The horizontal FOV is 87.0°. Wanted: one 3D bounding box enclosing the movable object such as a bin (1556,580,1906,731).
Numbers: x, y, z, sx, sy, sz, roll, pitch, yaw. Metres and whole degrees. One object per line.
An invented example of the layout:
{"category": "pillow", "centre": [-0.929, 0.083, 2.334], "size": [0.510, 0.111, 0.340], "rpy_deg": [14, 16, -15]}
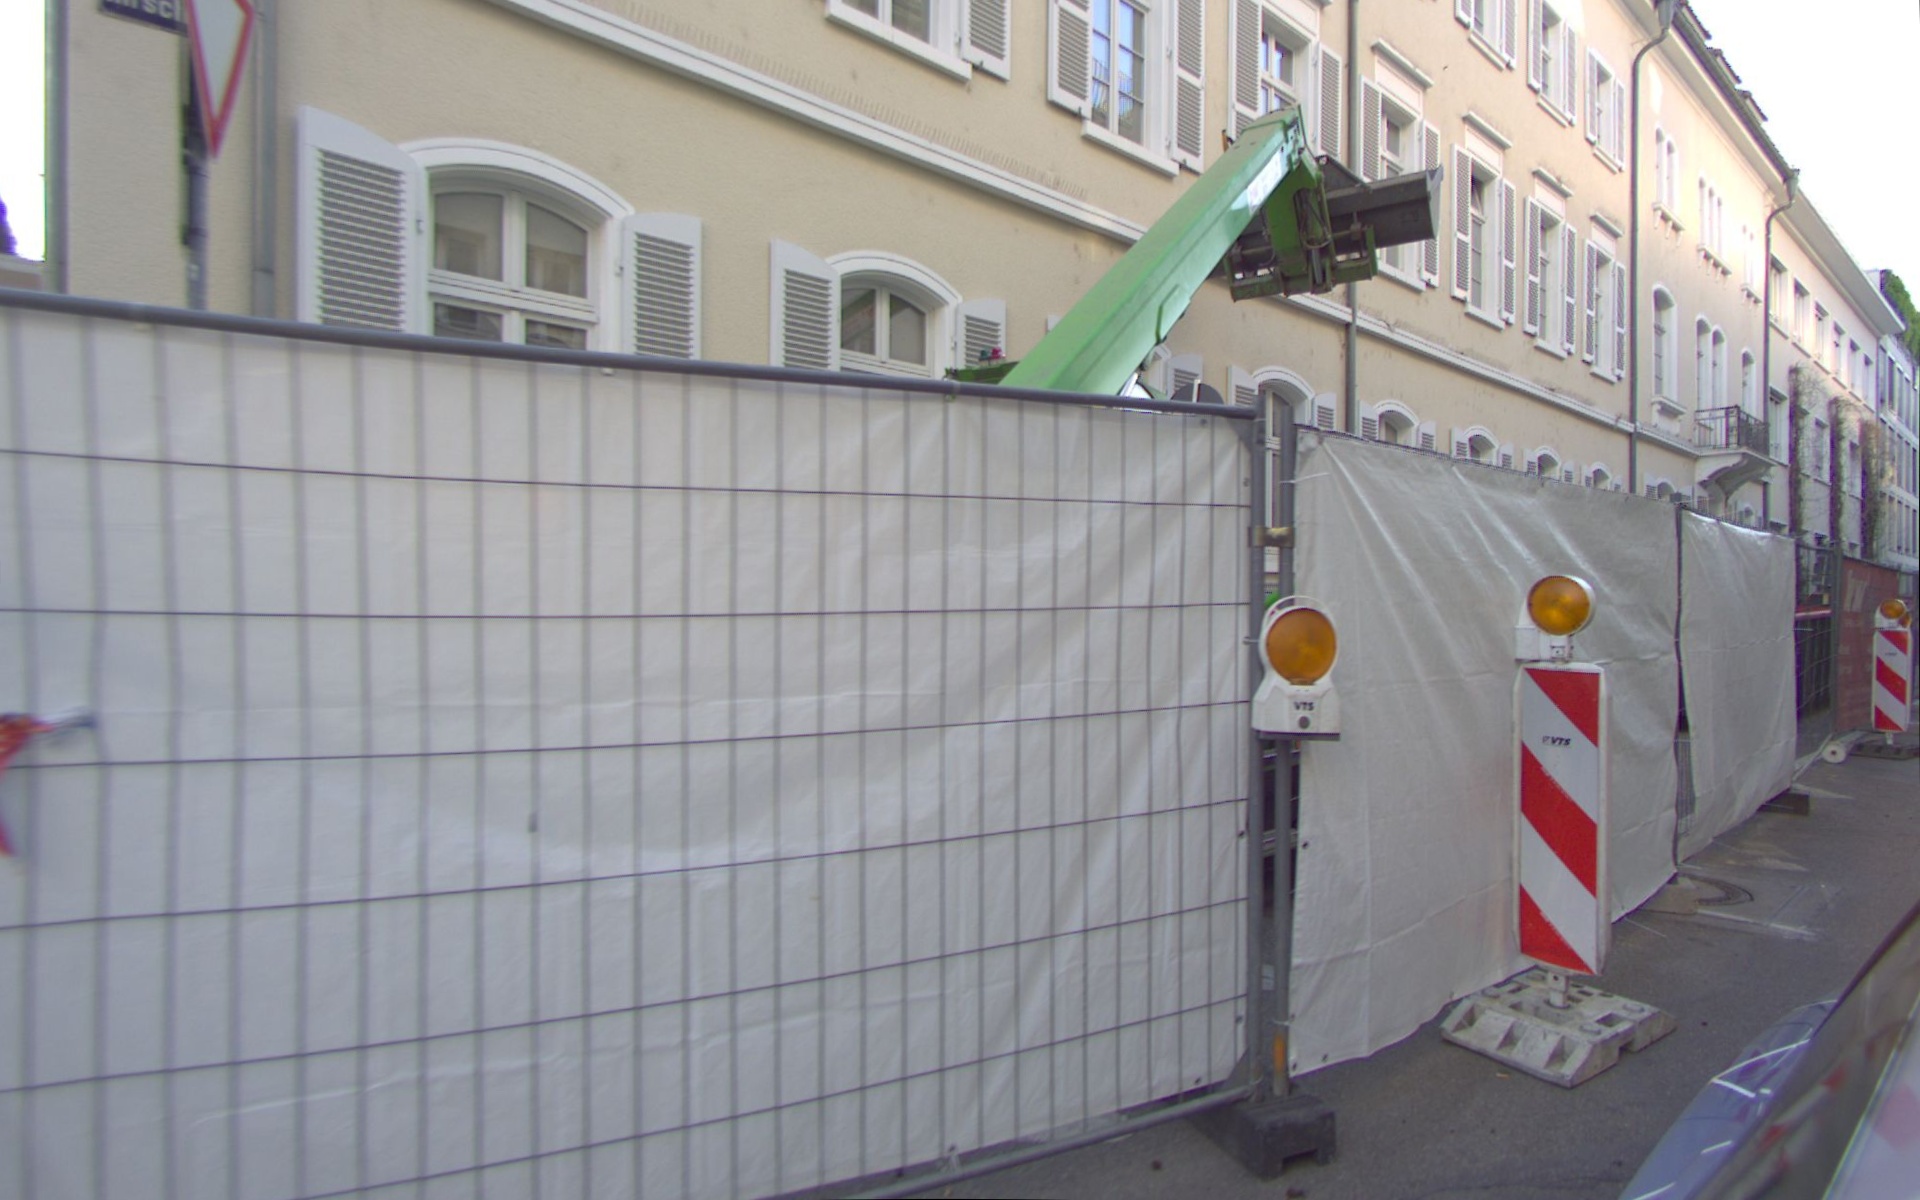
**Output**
{"category": "movable object such as a bin", "centre": [11.603, 0.633, 14.928], "size": [7.169, 1.685, 2.894], "rpy_deg": [1, 1, -43]}

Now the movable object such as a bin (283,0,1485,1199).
{"category": "movable object such as a bin", "centre": [0.165, 0.016, 4.990], "size": [5.471, 2.908, 2.638], "rpy_deg": [0, 1, -43]}
